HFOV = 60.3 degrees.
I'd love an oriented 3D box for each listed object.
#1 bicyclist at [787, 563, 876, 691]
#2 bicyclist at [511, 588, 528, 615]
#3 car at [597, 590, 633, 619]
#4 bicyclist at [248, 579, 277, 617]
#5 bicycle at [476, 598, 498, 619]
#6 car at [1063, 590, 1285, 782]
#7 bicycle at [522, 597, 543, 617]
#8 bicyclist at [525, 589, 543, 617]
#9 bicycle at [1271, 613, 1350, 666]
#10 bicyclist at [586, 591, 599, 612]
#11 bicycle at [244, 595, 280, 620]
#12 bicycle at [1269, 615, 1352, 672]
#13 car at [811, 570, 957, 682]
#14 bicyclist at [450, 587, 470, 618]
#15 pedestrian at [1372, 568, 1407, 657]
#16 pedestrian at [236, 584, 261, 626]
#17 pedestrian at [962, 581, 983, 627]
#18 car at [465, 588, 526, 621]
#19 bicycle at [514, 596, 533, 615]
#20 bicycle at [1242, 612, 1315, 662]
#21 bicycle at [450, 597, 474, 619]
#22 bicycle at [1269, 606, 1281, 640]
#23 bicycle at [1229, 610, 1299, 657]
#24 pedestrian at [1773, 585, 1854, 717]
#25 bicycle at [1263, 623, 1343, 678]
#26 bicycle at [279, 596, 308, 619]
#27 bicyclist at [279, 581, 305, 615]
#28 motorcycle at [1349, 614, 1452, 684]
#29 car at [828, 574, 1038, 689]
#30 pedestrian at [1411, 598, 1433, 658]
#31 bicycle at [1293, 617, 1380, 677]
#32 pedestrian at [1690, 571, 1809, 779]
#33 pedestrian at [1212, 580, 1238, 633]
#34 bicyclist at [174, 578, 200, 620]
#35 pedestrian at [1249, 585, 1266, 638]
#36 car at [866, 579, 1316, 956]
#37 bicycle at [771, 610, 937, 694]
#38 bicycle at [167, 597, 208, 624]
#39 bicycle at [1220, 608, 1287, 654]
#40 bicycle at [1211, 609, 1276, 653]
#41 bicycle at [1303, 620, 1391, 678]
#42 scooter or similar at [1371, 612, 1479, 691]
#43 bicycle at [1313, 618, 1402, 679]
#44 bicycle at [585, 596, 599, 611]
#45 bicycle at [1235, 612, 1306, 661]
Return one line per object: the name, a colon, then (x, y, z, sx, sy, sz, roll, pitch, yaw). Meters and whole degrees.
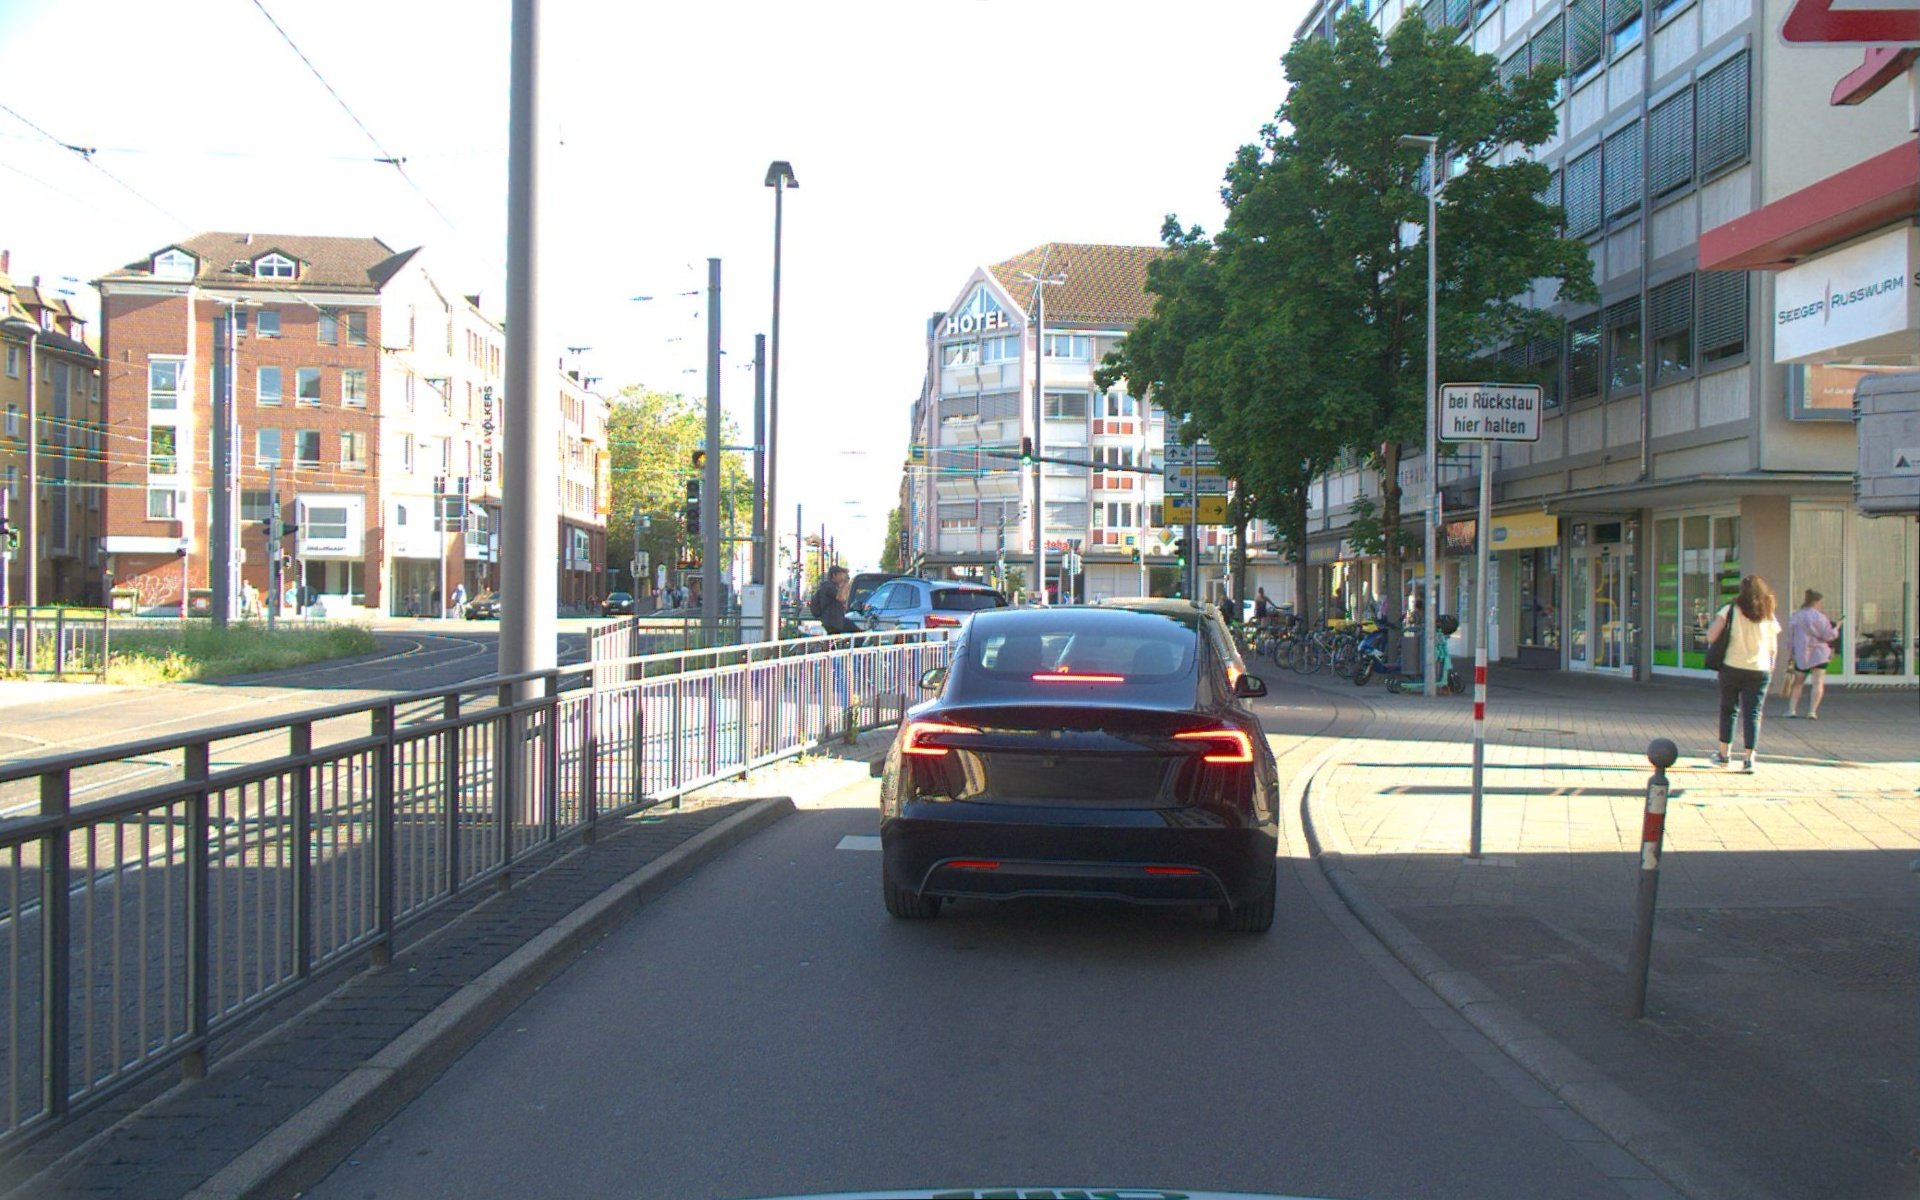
bicyclist: (-1.719, 0.348, 22.081, 0.753, 1.657, 0.964, 1, -1, -39)
bicyclist: (-25.985, 0.083, 97.619, 0.767, 1.590, 0.746, 0, 0, 1)
car: (-22.040, 0.282, 105.703, 1.663, 1.762, 3.704, 1, 0, -3)
bicyclist: (-28.391, -0.096, 67.325, 0.880, 1.529, 0.696, 1, -1, -1)
bicycle: (-25.916, 0.477, 90.591, 0.518, 1.107, 2.284, 0, 0, 1)
car: (1.876, 0.665, 15.034, 1.714, 1.480, 4.003, 1, 0, 6)
bicycle: (-23.497, 0.396, 91.010, 0.449, 1.112, 2.202, 1, 0, 3)
bicyclist: (-23.491, 0.176, 91.152, 0.769, 1.554, 0.589, 1, -1, 3)
bicycle: (7.499, 0.844, 35.432, 1.616, 1.118, 0.350, 1, -1, 1)
bicyclist: (-27.525, 0.130, 123.824, 0.767, 1.590, 0.746, 1, -1, 1)
bicycle: (-28.397, 0.321, 67.329, 0.513, 0.988, 2.246, 1, 0, -1)
bicycle: (7.096, 0.884, 33.477, 1.620, 1.118, 0.349, 1, -1, -11)
car: (-1.572, 0.484, 32.658, 1.962, 2.049, 3.981, 0, 0, -17)
bicyclist: (-26.004, 0.136, 85.970, 0.767, 1.590, 0.746, 1, -1, 1)
pedestrian: (10.053, 0.293, 38.696, 0.648, 2.049, 0.579, 1, -1, 1)
pedestrian: (-31.796, 0.214, 73.901, 0.767, 1.852, 0.746, 1, -1, 1)
pedestrian: (0.563, 0.168, 74.149, 0.902, 2.049, 0.972, 1, -1, -1)
car: (-22.741, 0.205, 81.096, 1.675, 1.553, 4.037, 1, 0, 2)
bicycle: (-25.961, 0.344, 98.350, 0.518, 1.107, 2.225, 0, 0, 1)
bicycle: (7.383, 0.862, 38.383, 1.616, 1.118, 0.350, 1, -1, 1)
bicycle: (-25.946, 0.409, 86.183, 0.526, 1.107, 2.225, 1, 0, 1)
bicycle: (10.206, 0.740, 53.566, 0.325, 1.052, 1.257, 1, 0, 9)
bicycle: (7.428, 0.816, 40.424, 1.616, 1.118, 0.350, 1, -1, 1)
pedestrian: (11.328, 0.664, 21.975, 0.871, 1.696, 0.808, 1, -1, 23)
bicycle: (7.151, 1.052, 34.460, 1.620, 1.118, 0.349, 1, -1, -11)
bicycle: (-29.696, 0.328, 73.667, 0.396, 0.998, 1.695, 1, 0, 7)
bicyclist: (-29.741, -0.080, 73.655, 0.689, 1.496, 0.973, 0, 0, 7)
motorcycle: (7.807, 0.870, 29.352, 1.673, 1.194, 0.541, 1, -1, -3)
car: (-0.527, 0.469, 26.497, 1.859, 1.691, 4.125, 1, 0, -25)
pedestrian: (10.747, 0.647, 38.480, 0.381, 1.367, 0.513, 1, -1, 1)
bicycle: (7.278, 0.906, 31.953, 1.620, 1.118, 0.349, 1, -1, -11)
pedestrian: (7.081, 0.642, 14.884, 0.895, 1.783, 1.038, 0, 0, 22)
pedestrian: (8.615, 0.222, 53.853, 0.685, 1.691, 0.777, 1, -1, -1)
bicyclist: (-28.248, -0.034, 60.457, 0.620, 1.529, 0.696, 1, -1, -1)
pedestrian: (9.715, 0.372, 53.999, 0.515, 1.740, 0.404, 1, -1, 10)
car: (0.666, 0.682, 8.684, 1.791, 1.481, 4.002, 1, 0, 4)
bicycle: (-1.409, 0.695, 22.375, 2.313, 1.072, 0.622, 1, -1, -39)
bicycle: (-28.244, 0.384, 60.509, 0.437, 0.988, 2.246, 1, 0, -1)
bicycle: (7.363, 0.773, 41.469, 1.616, 1.118, 0.350, 0, 0, 1)
bicycle: (7.293, 0.798, 42.562, 1.616, 1.118, 0.350, 1, -1, 1)
bicycle: (7.382, 0.933, 31.530, 1.620, 1.079, 0.349, 1, -1, -11)
scooter or similar: (7.662, 0.836, 27.276, 1.610, 1.236, 0.644, 1, -1, 30)
bicycle: (7.479, 0.915, 31.110, 1.620, 1.118, 0.349, 1, -1, -11)
bicycle: (-27.562, 0.291, 123.812, 0.518, 1.107, 2.225, 1, 0, 1)
bicycle: (7.399, 0.863, 39.410, 1.616, 1.118, 0.350, 1, -1, 1)
